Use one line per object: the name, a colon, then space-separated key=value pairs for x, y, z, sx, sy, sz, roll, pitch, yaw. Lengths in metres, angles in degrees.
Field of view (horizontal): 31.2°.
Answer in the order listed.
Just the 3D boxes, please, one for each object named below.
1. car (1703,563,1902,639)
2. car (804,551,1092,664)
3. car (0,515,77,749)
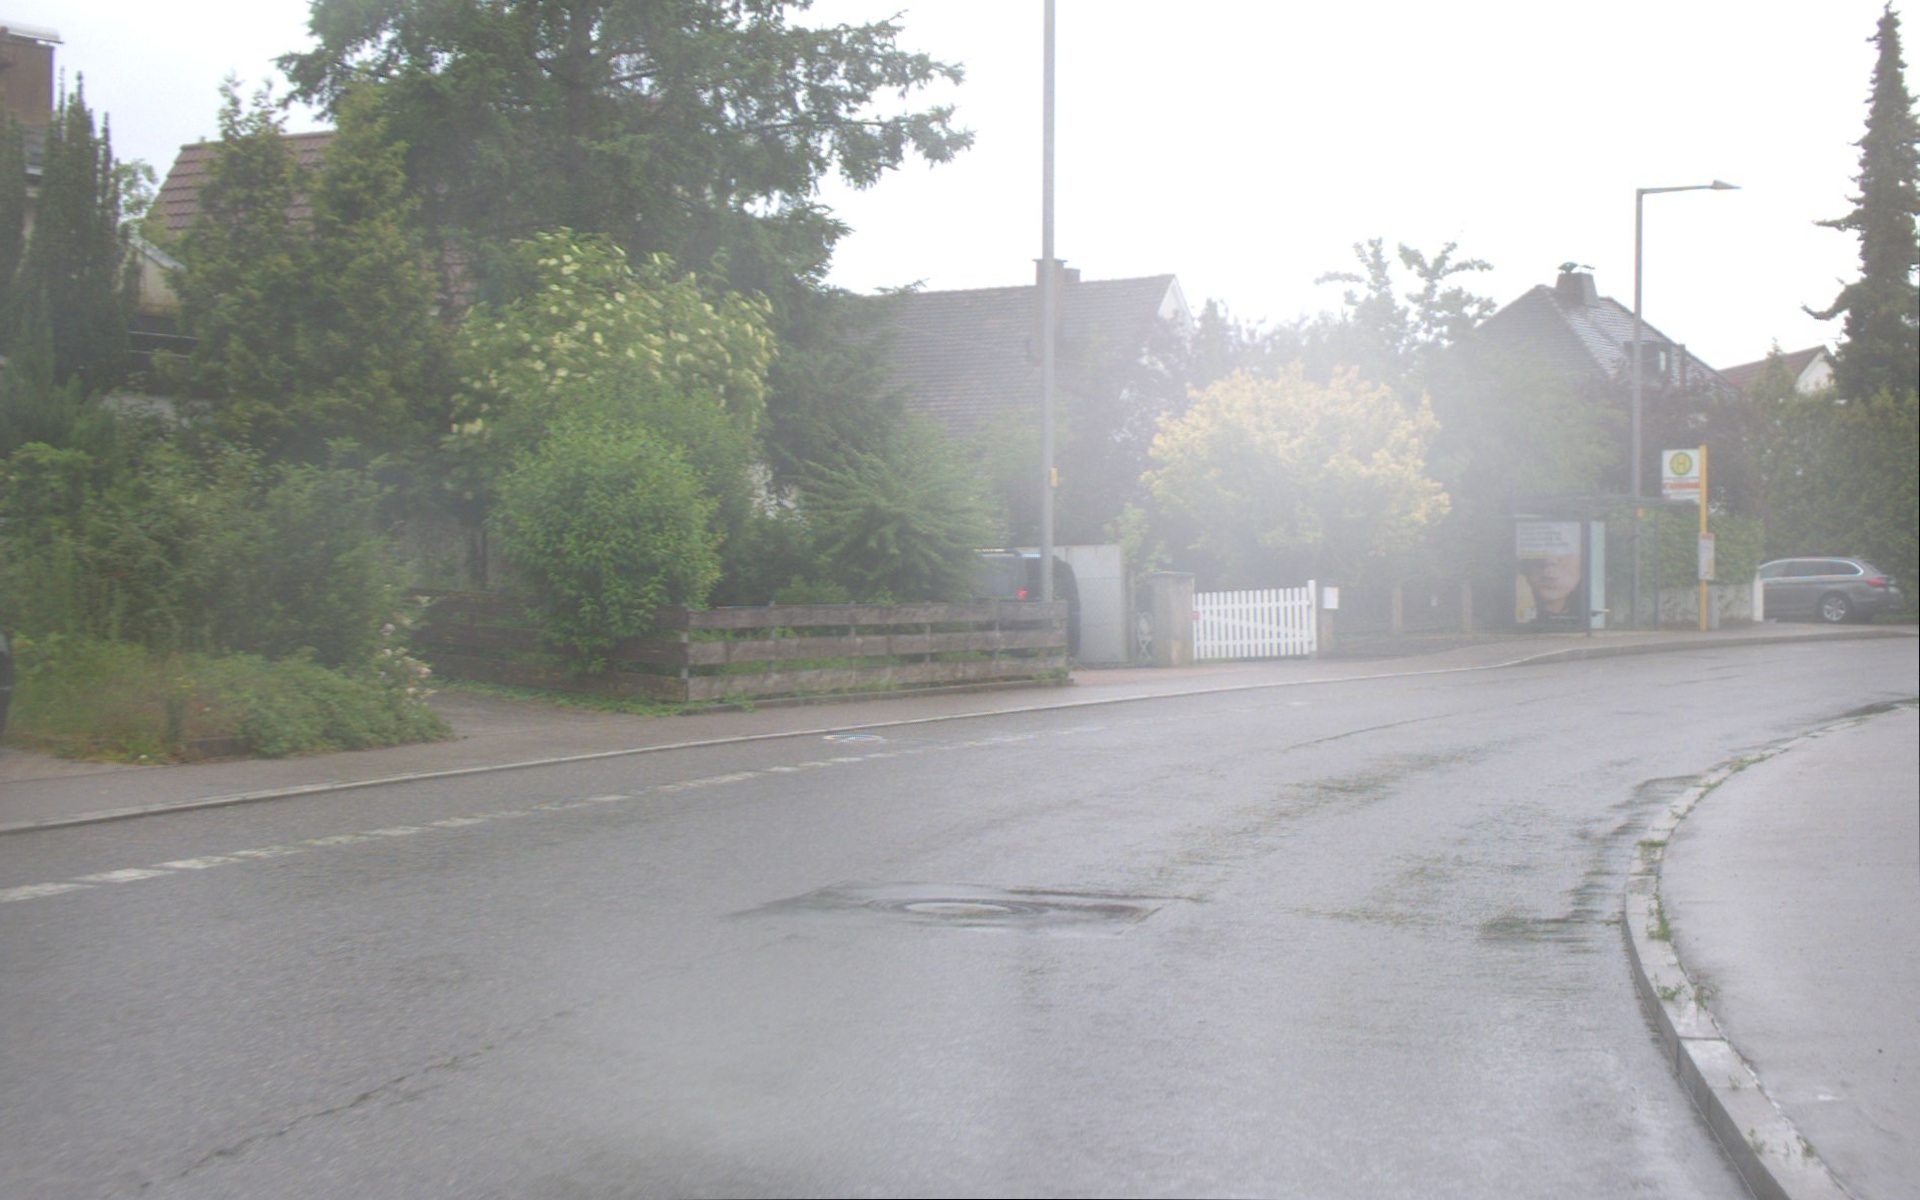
car: x=18.356 y=0.016 z=74.913 sx=3.851 sy=1.567 sz=1.783 roll=1 pitch=1 yaw=28
car: x=-0.199 y=0.094 z=53.355 sx=3.995 sy=1.614 sz=1.996 roll=2 pitch=1 yaw=34
car: x=-7.468 y=0.078 z=21.525 sx=1.935 sy=1.384 sz=3.998 roll=4 pitch=0 yaw=-45
